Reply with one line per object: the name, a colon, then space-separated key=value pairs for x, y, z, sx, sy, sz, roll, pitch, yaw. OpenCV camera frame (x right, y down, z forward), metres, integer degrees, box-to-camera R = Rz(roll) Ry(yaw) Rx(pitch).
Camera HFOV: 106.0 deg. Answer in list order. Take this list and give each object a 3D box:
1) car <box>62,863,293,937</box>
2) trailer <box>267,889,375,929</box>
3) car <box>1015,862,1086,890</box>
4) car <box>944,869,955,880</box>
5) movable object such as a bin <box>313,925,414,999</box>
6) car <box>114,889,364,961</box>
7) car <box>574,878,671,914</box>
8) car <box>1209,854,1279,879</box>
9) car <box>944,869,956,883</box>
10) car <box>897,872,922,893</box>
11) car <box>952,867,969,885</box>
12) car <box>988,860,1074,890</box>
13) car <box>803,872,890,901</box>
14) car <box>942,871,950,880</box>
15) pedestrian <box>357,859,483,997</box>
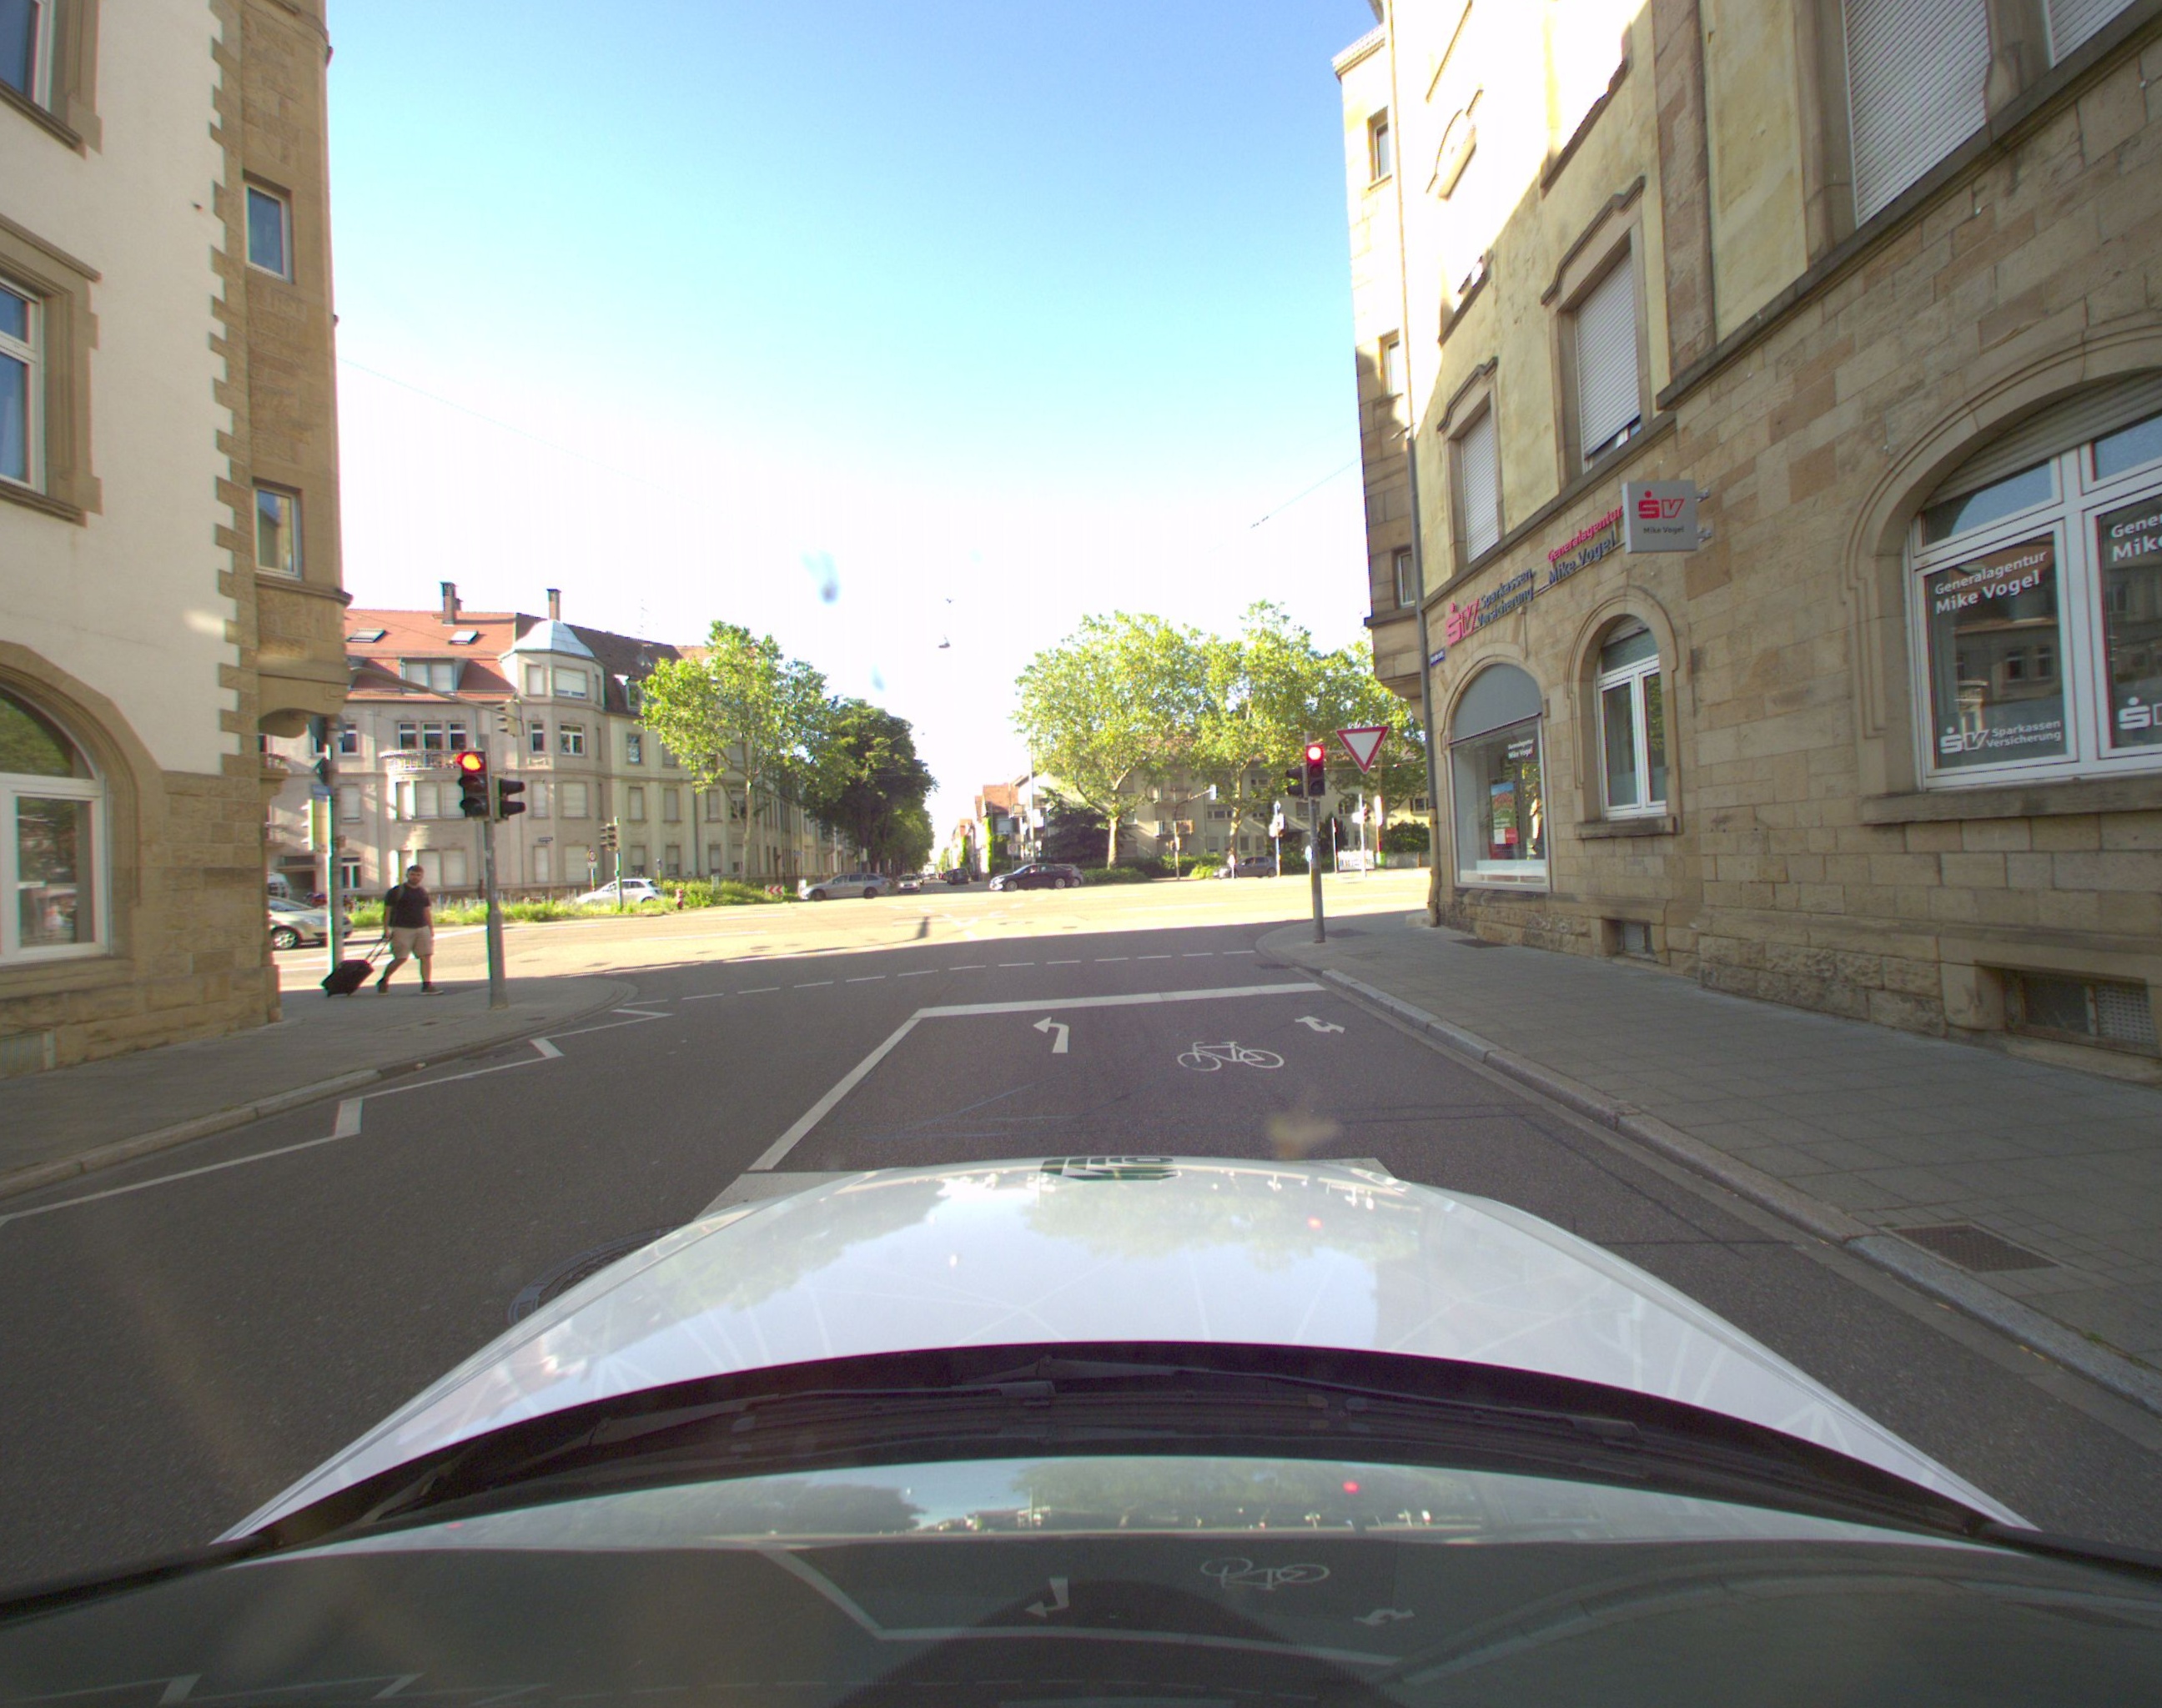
car: x=-36.617 y=1.795 z=33.234 sx=6.123 sy=2.637 sz=1.884 roll=-2 pitch=-1 yaw=-17
trailer: x=-32.207 y=2.310 z=34.595 sx=2.955 sy=1.457 sz=1.505 roll=-2 pitch=0 yaw=-18
car: x=-1.767 y=1.268 z=47.502 sx=3.793 sy=1.400 sz=1.635 roll=-2 pitch=0 yaw=-20
car: x=-23.753 y=3.714 z=147.184 sx=1.773 sy=1.918 sz=3.522 roll=-4 pitch=0 yaw=-10
movable object such as a bin: x=-9.810 y=1.464 z=11.154 sx=0.862 sy=0.892 sz=0.507 roll=-3 pitch=0 yaw=-11
car: x=-21.918 y=1.812 z=21.413 sx=4.212 sy=1.456 sz=1.669 roll=-3 pitch=0 yaw=-17
car: x=-21.227 y=1.916 z=37.870 sx=3.641 sy=1.457 sz=1.494 roll=-2 pitch=0 yaw=-18
car: x=10.257 y=0.797 z=51.376 sx=3.941 sy=1.400 sz=1.639 roll=-2 pitch=0 yaw=-12
car: x=-20.744 y=3.488 z=128.816 sx=1.773 sy=1.918 sz=3.522 roll=-4 pitch=0 yaw=-10
car: x=-13.709 y=2.280 z=65.301 sx=1.698 sy=1.483 sz=3.522 roll=-4 pitch=0 yaw=-10
car: x=-14.114 y=2.517 z=94.942 sx=1.773 sy=1.918 sz=3.522 roll=-4 pitch=0 yaw=-10
car: x=-2.669 y=1.119 z=43.638 sx=4.281 sy=1.400 sz=1.635 roll=-2 pitch=0 yaw=-20
car: x=-12.590 y=1.701 z=43.797 sx=4.399 sy=1.316 sz=1.636 roll=-2 pitch=0 yaw=-18
car: x=-30.129 y=4.824 z=181.727 sx=1.773 sy=1.918 sz=3.522 roll=-4 pitch=0 yaw=-10
pedestrian: x=-9.235 y=1.016 z=11.428 sx=1.066 sy=1.849 sz=0.746 roll=0 pitch=-4 yaw=-11
